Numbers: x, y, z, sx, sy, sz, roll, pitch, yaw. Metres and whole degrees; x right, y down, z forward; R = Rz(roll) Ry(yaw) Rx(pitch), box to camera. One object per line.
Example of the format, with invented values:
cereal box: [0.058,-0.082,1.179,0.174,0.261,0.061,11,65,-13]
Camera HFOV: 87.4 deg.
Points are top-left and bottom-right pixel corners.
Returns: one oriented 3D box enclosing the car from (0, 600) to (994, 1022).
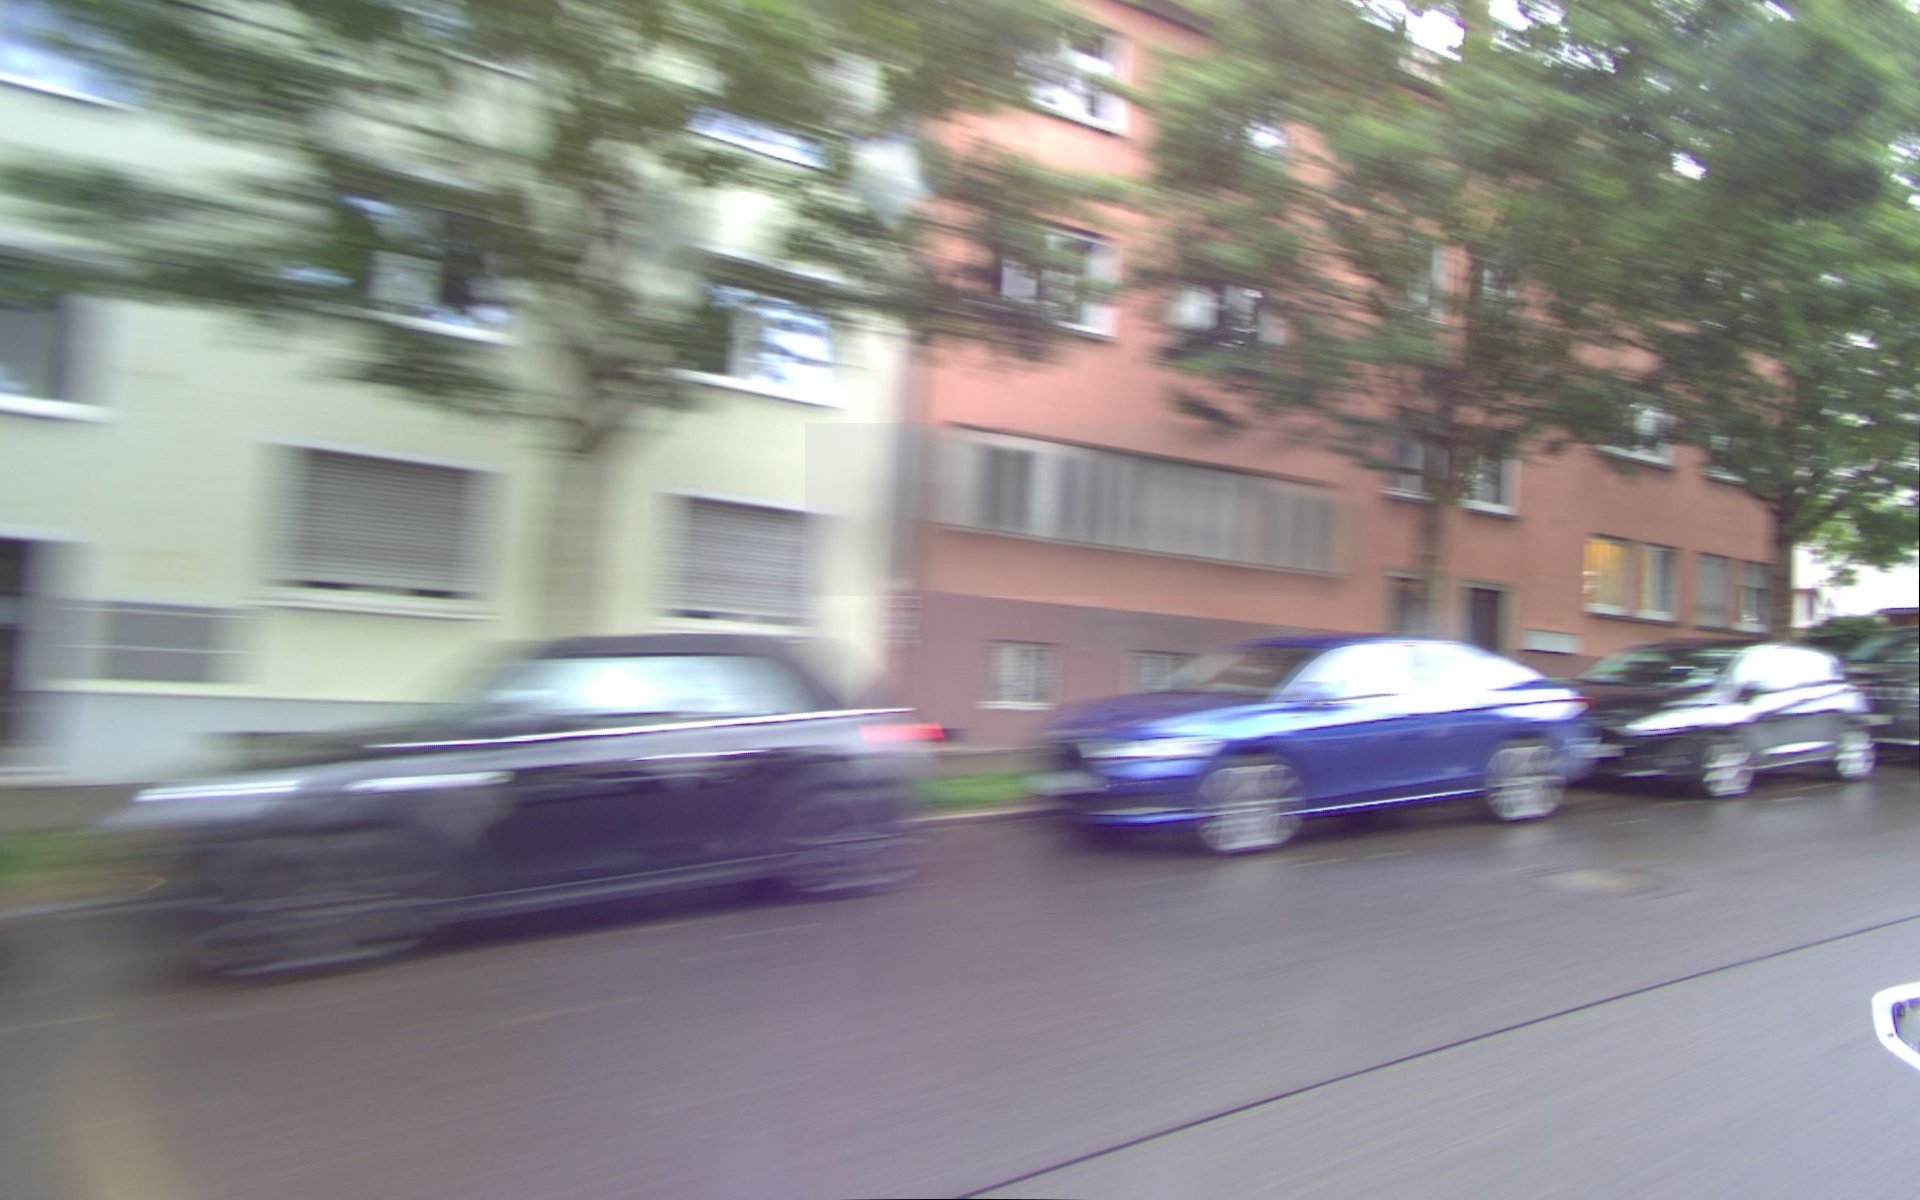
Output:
car: [-2.100,0.823,5.437,4.311,1.513,1.779,1,-2,-31]

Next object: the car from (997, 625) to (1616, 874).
car: [2.818,0.979,7.970,4.796,1.513,1.782,1,-2,-26]

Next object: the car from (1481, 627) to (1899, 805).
car: [7.564,1.055,10.354,4.306,1.513,1.780,1,-2,-28]

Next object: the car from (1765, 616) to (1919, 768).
car: [12.279,1.061,12.463,4.418,1.663,1.782,1,-2,-24]
